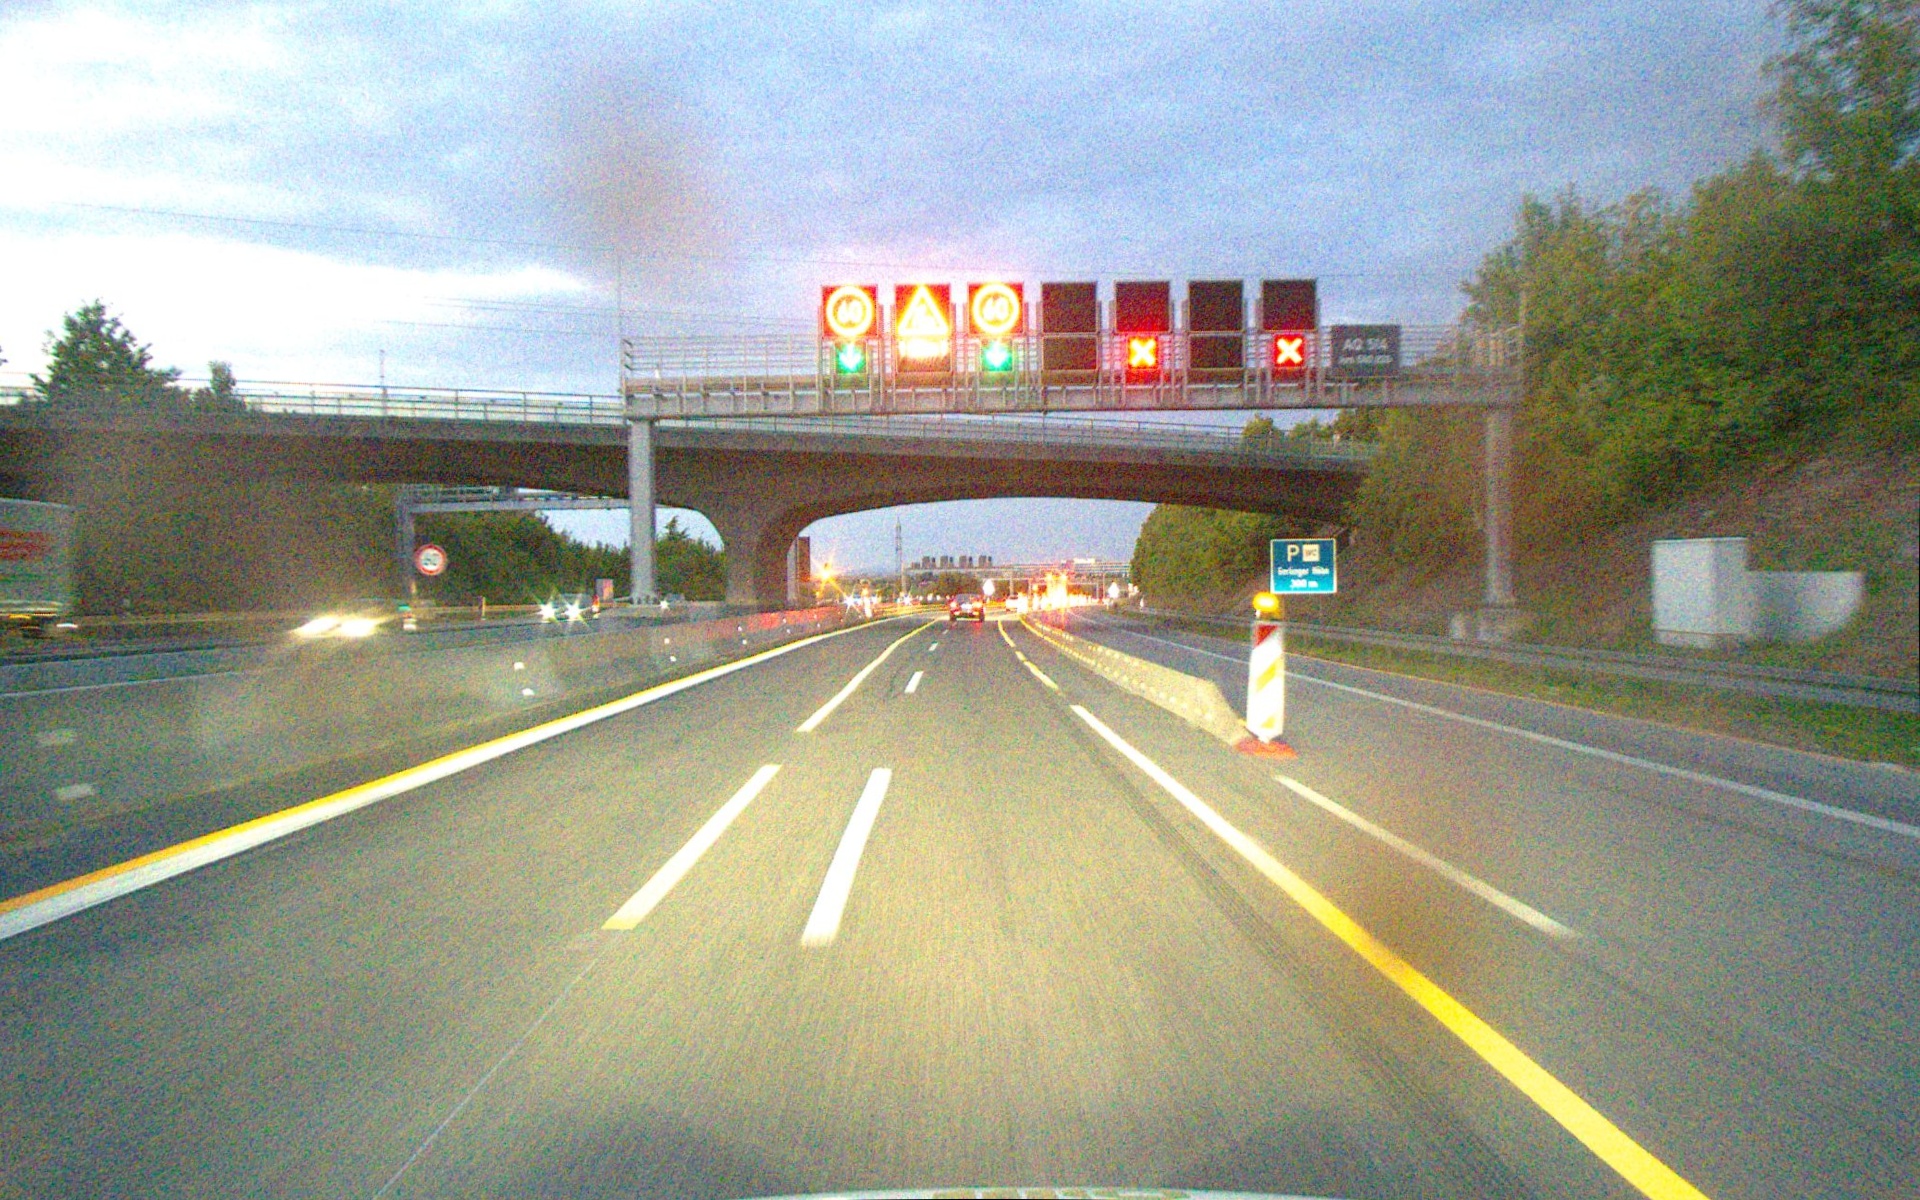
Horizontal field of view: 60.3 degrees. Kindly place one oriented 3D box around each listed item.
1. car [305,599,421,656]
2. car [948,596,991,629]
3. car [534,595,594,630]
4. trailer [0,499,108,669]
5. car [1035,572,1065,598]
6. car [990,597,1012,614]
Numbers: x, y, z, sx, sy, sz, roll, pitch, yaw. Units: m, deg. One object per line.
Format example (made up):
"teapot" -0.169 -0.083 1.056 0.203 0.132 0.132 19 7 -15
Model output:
"car" -19.179 0.849 53.335 1.952 1.705 4.516 2 0 2
"car" 0.556 0.659 88.800 2.219 1.649 4.000 2 0 1
"car" -20.567 0.655 86.033 1.953 1.703 4.582 2 0 0
"trailer" -25.514 -0.444 40.237 2.721 4.279 12.404 1 0 2
"car" 12.593 -2.017 231.033 3.532 3.455 8.012 2 0 -1
"car" 3.714 0.497 149.384 1.931 1.462 4.001 2 0 3
